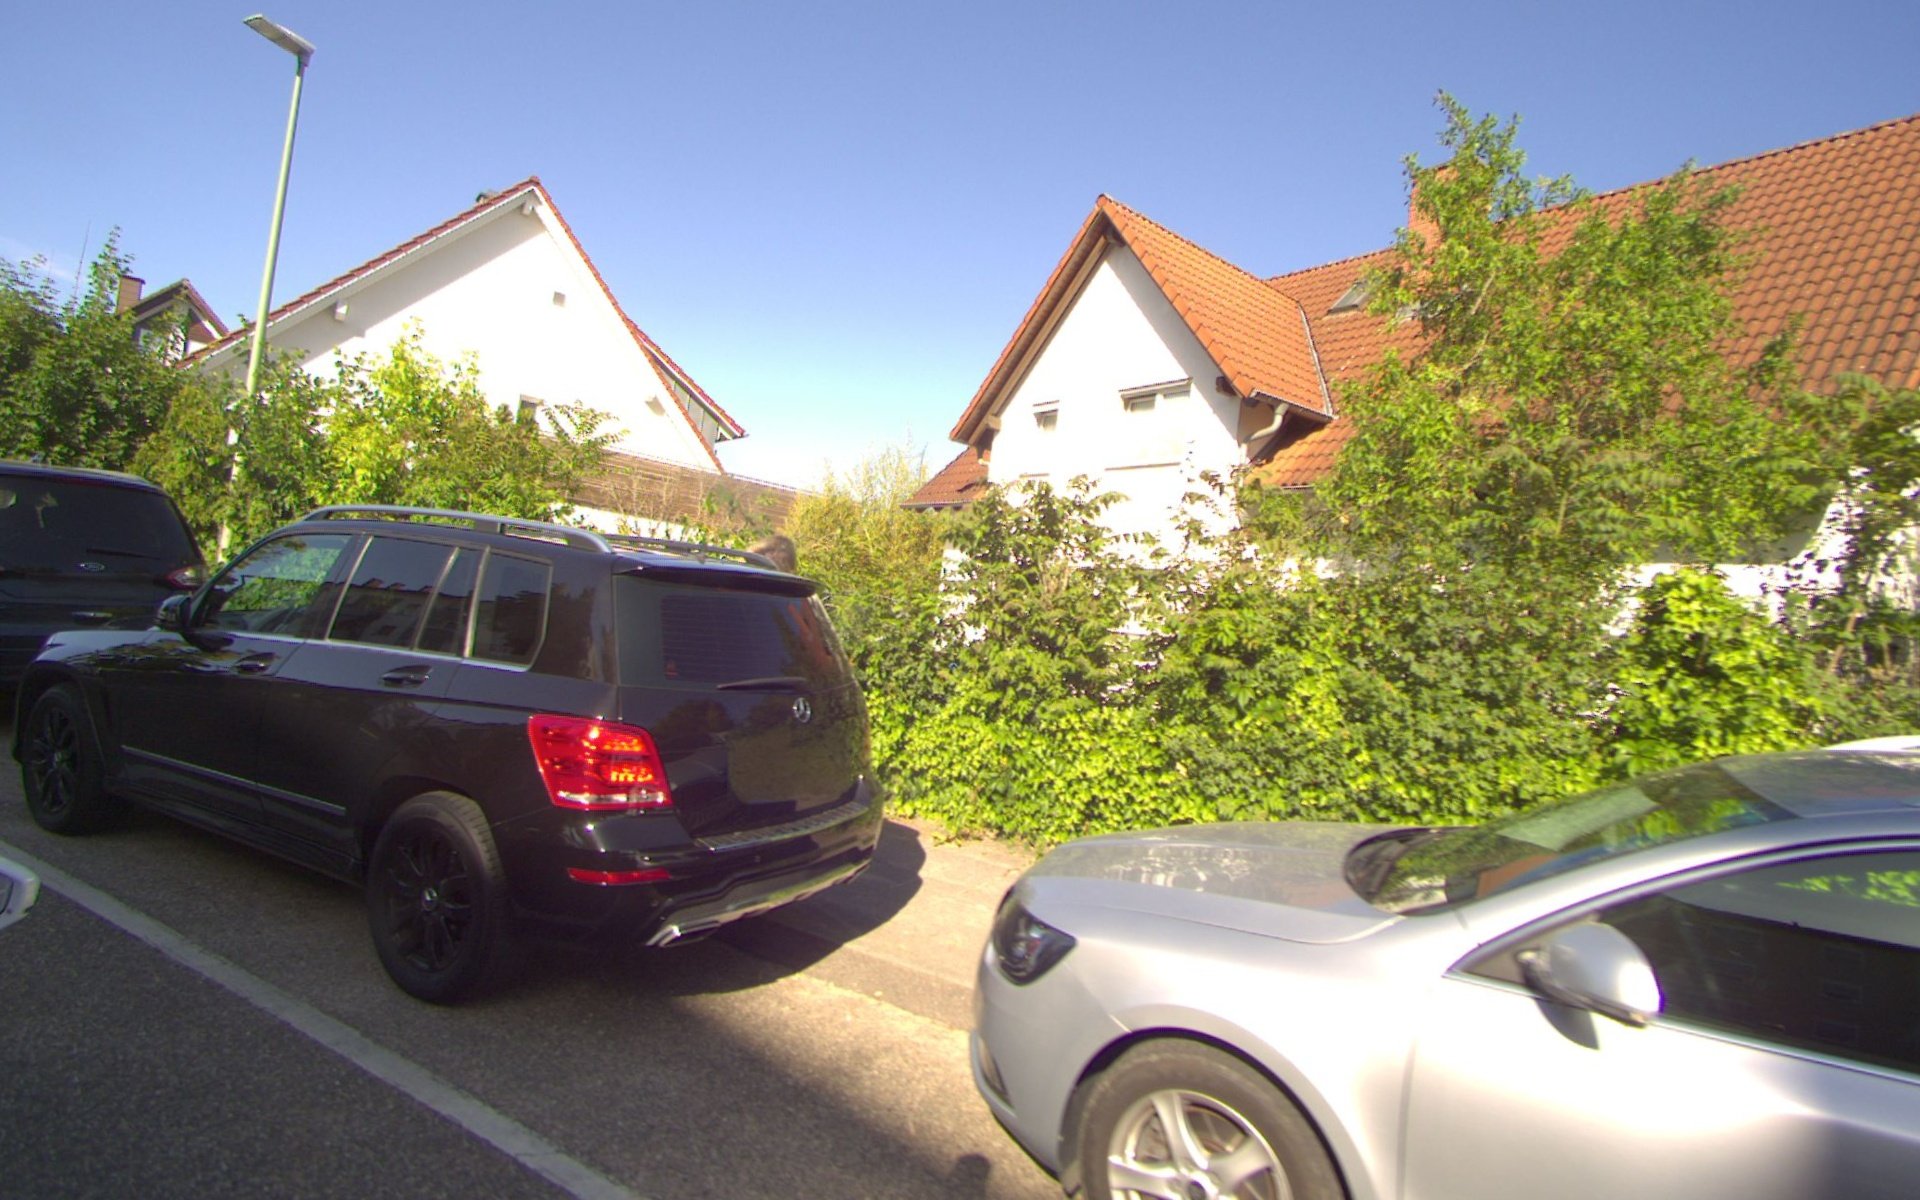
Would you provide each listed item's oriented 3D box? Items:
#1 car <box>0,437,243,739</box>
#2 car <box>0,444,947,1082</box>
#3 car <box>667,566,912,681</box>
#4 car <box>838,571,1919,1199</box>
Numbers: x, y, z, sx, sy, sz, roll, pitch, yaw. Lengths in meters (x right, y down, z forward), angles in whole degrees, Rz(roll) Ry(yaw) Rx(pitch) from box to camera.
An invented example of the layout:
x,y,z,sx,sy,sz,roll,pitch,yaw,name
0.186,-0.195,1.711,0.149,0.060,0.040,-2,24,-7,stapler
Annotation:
x,y,z,sx,sy,sz,roll,pitch,yaw,name
-7.608,-0.266,7.464,4.351,1.834,1.748,7,-1,27,car
-2.459,0.395,4.692,4.317,1.695,1.768,7,-1,27,car
-3.448,0.515,20.743,4.432,1.769,1.968,9,-2,-36,car
2.133,1.019,2.230,4.587,1.582,1.765,7,-2,34,car
